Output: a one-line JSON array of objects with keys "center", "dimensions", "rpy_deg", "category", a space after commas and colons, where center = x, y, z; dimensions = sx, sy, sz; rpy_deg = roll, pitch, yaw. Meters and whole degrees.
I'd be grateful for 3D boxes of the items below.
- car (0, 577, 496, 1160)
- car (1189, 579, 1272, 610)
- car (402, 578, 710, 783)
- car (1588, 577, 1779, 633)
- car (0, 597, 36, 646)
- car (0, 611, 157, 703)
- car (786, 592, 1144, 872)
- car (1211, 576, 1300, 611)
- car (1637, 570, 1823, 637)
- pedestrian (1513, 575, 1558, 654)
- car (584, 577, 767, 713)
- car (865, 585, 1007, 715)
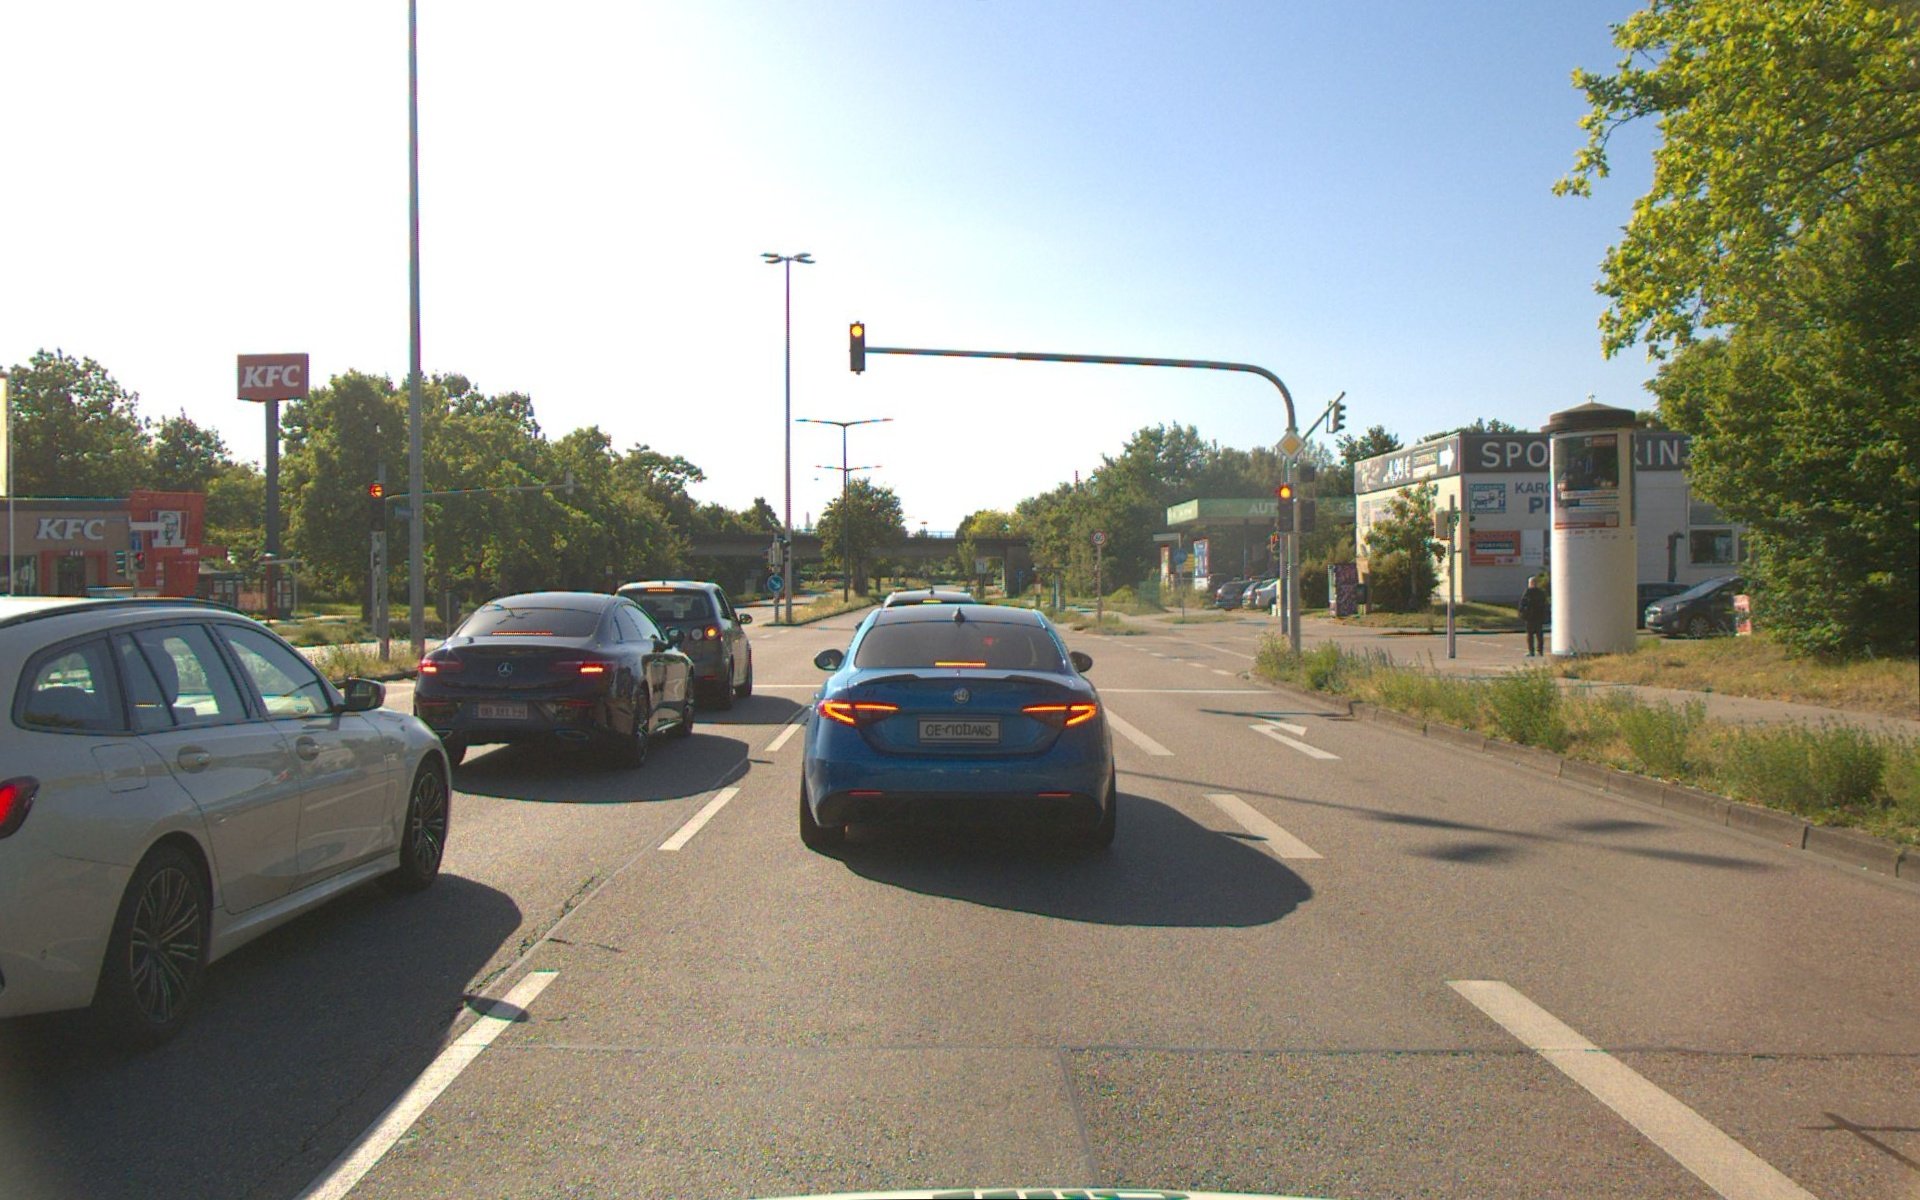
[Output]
[{"center": [-3.384, 0.674, 6.570], "dimensions": [1.775, 1.512, 4.596], "rpy_deg": [1, 0, 0], "category": "car"}, {"center": [14.364, -0.276, 87.854], "dimensions": [3.925, 1.579, 1.990], "rpy_deg": [1, 0, -18], "category": "car"}, {"center": [-3.463, 0.611, 15.054], "dimensions": [1.775, 1.578, 4.542], "rpy_deg": [0, 0, -1], "category": "car"}, {"center": [20.631, 0.157, 47.274], "dimensions": [4.722, 1.493, 1.758], "rpy_deg": [1, 0, -3], "category": "car"}, {"center": [-35.796, 0.766, 60.977], "dimensions": [4.026, 1.770, 1.922], "rpy_deg": [1, -1, 43], "category": "car"}, {"center": [-19.396, 1.153, 35.362], "dimensions": [1.764, 1.756, 4.326], "rpy_deg": [1, 1, 11], "category": "car"}, {"center": [0.059, 0.706, 10.590], "dimensions": [1.870, 1.447, 3.719], "rpy_deg": [1, 0, 1], "category": "car"}, {"center": [14.129, -0.317, 79.283], "dimensions": [3.905, 1.579, 2.000], "rpy_deg": [1, 0, 0], "category": "car"}, {"center": [20.462, 0.092, 44.033], "dimensions": [4.219, 1.678, 1.637], "rpy_deg": [1, 0, -2], "category": "car"}, {"center": [12.661, 0.315, 36.416], "dimensions": [0.800, 1.698, 0.514], "rpy_deg": [1, -1, -1], "category": "pedestrian"}, {"center": [-3.623, 0.540, 21.762], "dimensions": [1.776, 1.578, 4.351], "rpy_deg": [1, 0, -2], "category": "car"}, {"center": [-0.259, 0.606, 21.598], "dimensions": [1.669, 1.523, 3.719], "rpy_deg": [1, 0, 1], "category": "car"}]
